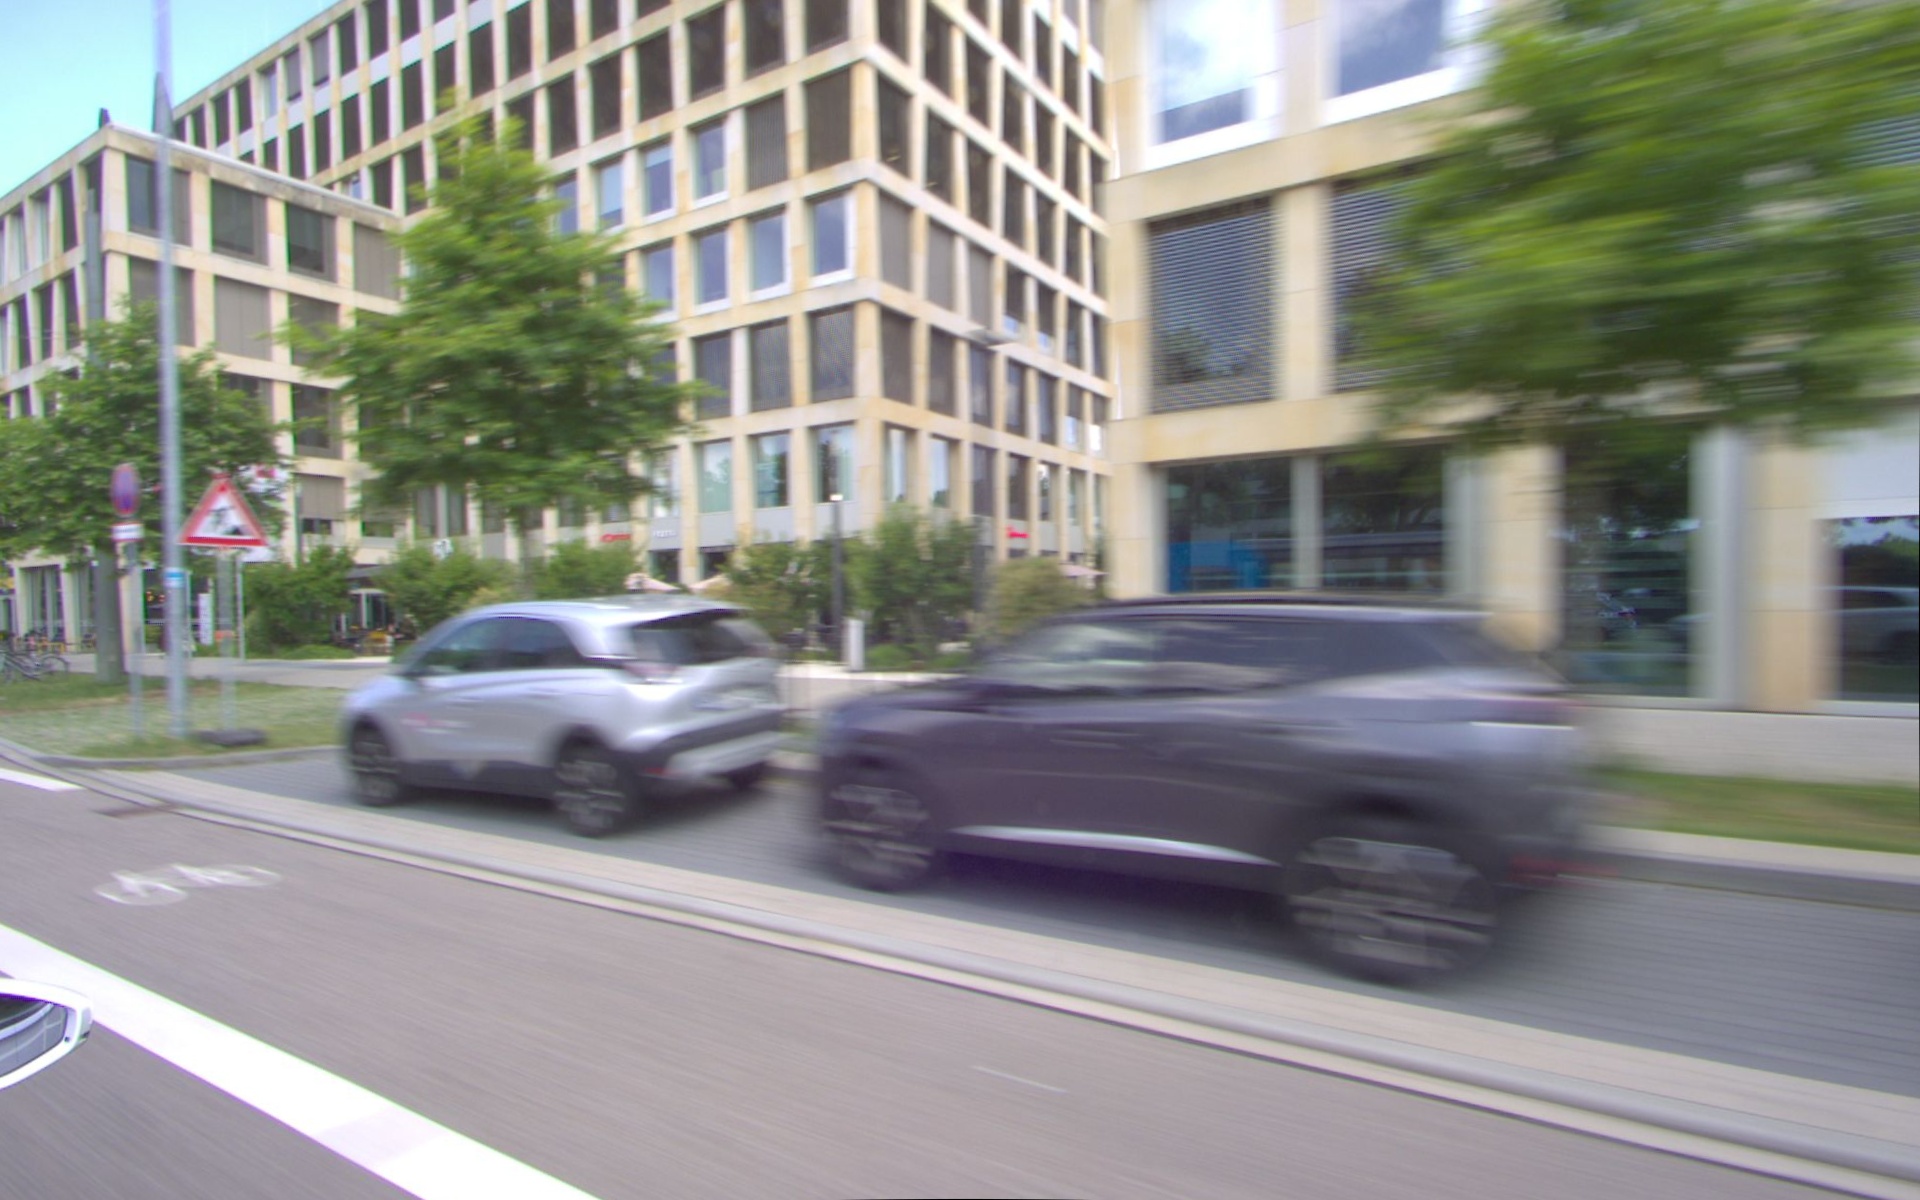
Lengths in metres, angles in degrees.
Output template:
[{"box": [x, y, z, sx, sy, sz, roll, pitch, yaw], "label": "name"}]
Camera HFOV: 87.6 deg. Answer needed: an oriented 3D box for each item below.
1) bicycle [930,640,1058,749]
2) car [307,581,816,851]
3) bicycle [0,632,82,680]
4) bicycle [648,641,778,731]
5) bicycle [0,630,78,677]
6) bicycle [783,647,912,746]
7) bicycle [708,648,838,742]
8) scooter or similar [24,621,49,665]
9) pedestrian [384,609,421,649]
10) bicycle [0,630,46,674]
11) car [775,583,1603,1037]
[{"box": [0.368, 0.902, 9.887, 0.498, 0.929, 1.491, -4, -1, 35], "label": "bicycle"}, {"box": [-3.252, 0.743, 8.024, 3.931, 1.656, 1.682, -1, 3, 31], "label": "car"}, {"box": [-22.954, 1.373, 24.764, 0.271, 1.090, 1.817, 0, 1, 36], "label": "bicycle"}, {"box": [-2.901, 0.997, 11.871, 0.499, 0.928, 1.491, -5, -2, 35], "label": "bicycle"}, {"box": [-23.196, 1.325, 24.941, 0.271, 1.090, 1.817, 0, 1, 36], "label": "bicycle"}, {"box": [-1.200, 1.022, 10.911, 0.498, 0.929, 1.491, -4, -1, 35], "label": "bicycle"}, {"box": [-2.094, 1.052, 11.377, 0.498, 0.929, 1.491, -4, -1, 35], "label": "bicycle"}, {"box": [-26.183, 1.208, 28.385, 1.001, 1.232, 0.258, 0, 1, 32], "label": "scooter or similar"}, {"box": [-20.068, 1.051, 36.043, 0.855, 1.381, 0.773, -1, 2, 32], "label": "pedestrian"}, {"box": [-25.139, 1.367, 26.102, 0.677, 1.090, 1.817, 0, 1, 36], "label": "bicycle"}, {"box": [1.060, 0.750, 5.258, 3.870, 1.569, 1.681, -1, 2, 33], "label": "car"}]
